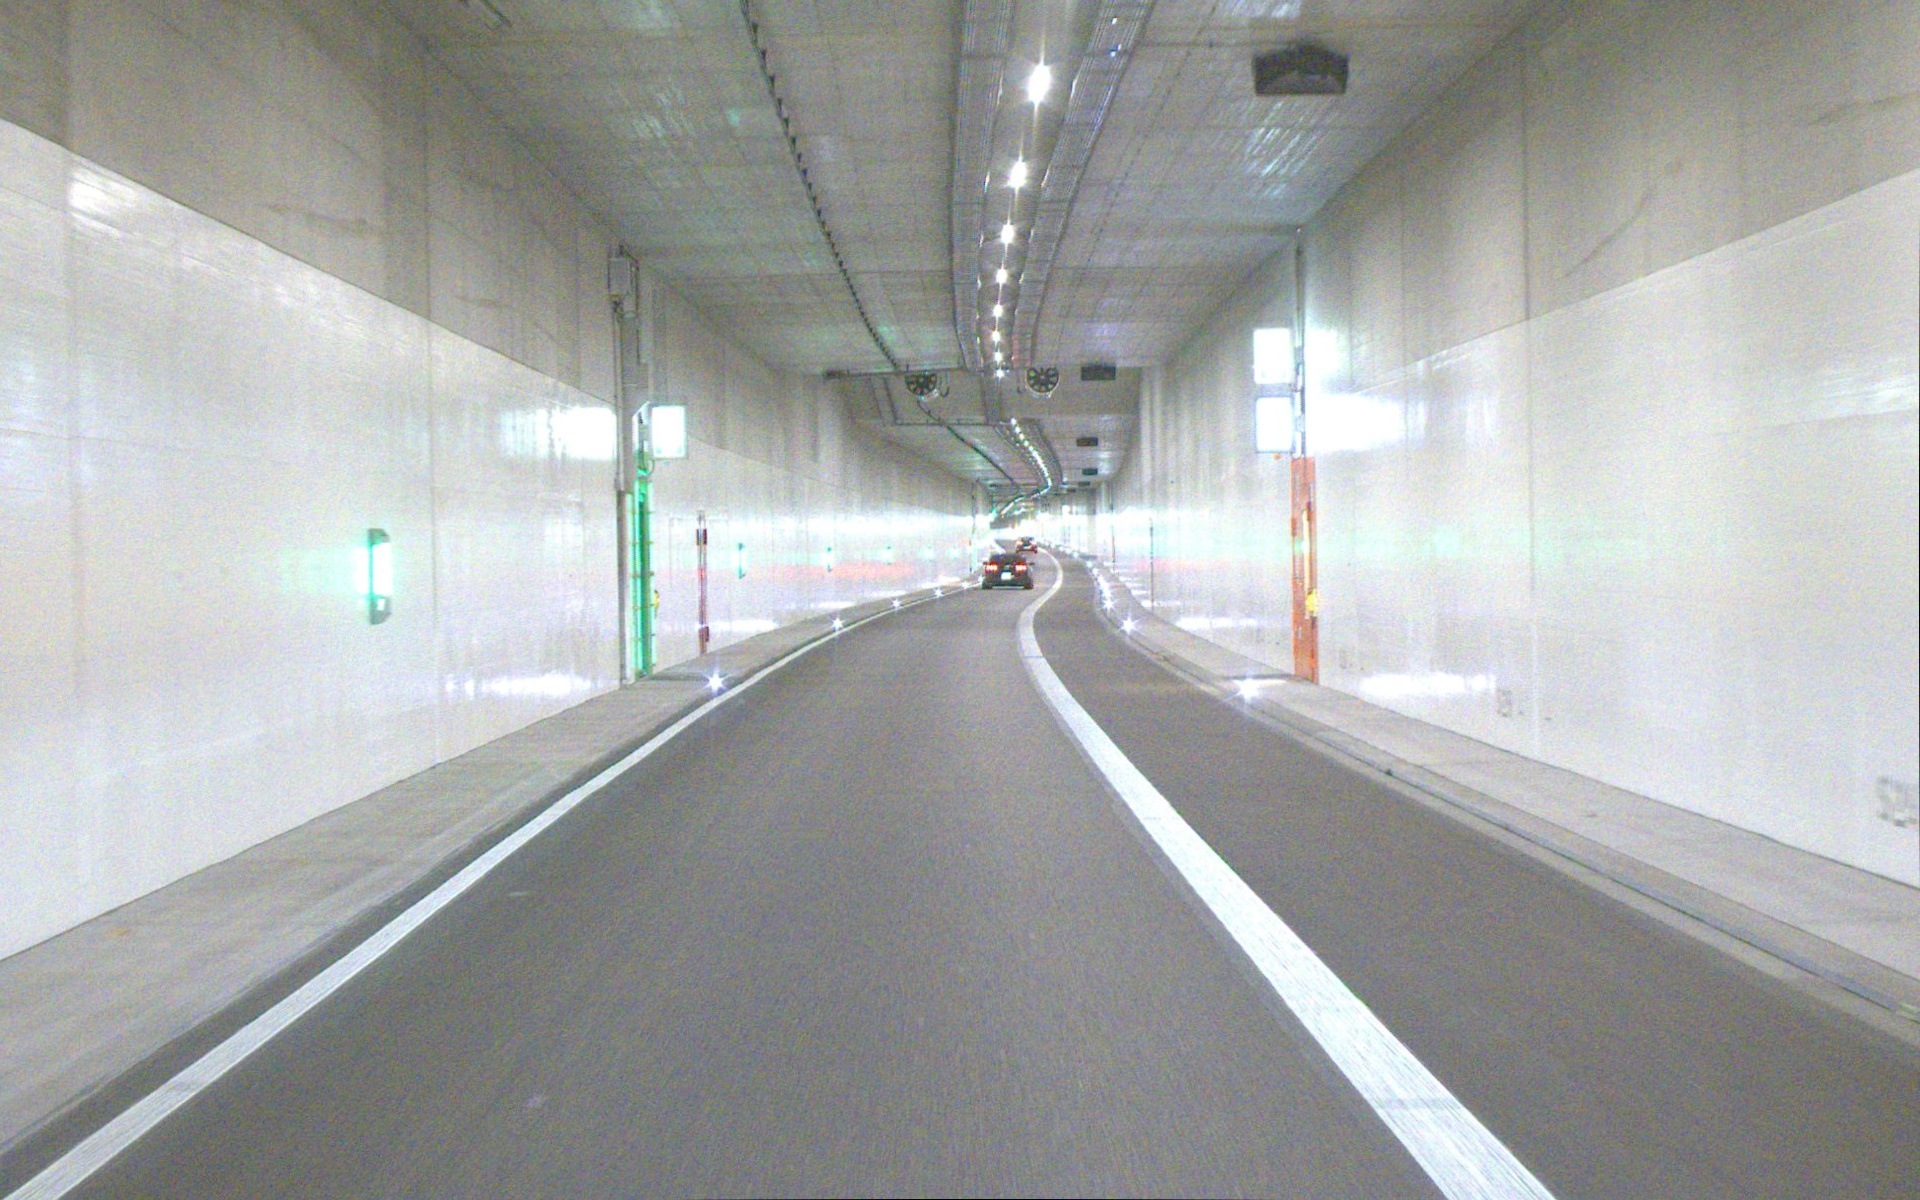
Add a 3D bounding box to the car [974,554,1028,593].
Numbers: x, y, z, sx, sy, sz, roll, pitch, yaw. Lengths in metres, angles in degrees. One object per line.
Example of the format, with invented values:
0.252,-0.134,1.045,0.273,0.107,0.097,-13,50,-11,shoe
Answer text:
1.551,-1.030,132.271,1.993,1.415,4.000,1,1,0,car
